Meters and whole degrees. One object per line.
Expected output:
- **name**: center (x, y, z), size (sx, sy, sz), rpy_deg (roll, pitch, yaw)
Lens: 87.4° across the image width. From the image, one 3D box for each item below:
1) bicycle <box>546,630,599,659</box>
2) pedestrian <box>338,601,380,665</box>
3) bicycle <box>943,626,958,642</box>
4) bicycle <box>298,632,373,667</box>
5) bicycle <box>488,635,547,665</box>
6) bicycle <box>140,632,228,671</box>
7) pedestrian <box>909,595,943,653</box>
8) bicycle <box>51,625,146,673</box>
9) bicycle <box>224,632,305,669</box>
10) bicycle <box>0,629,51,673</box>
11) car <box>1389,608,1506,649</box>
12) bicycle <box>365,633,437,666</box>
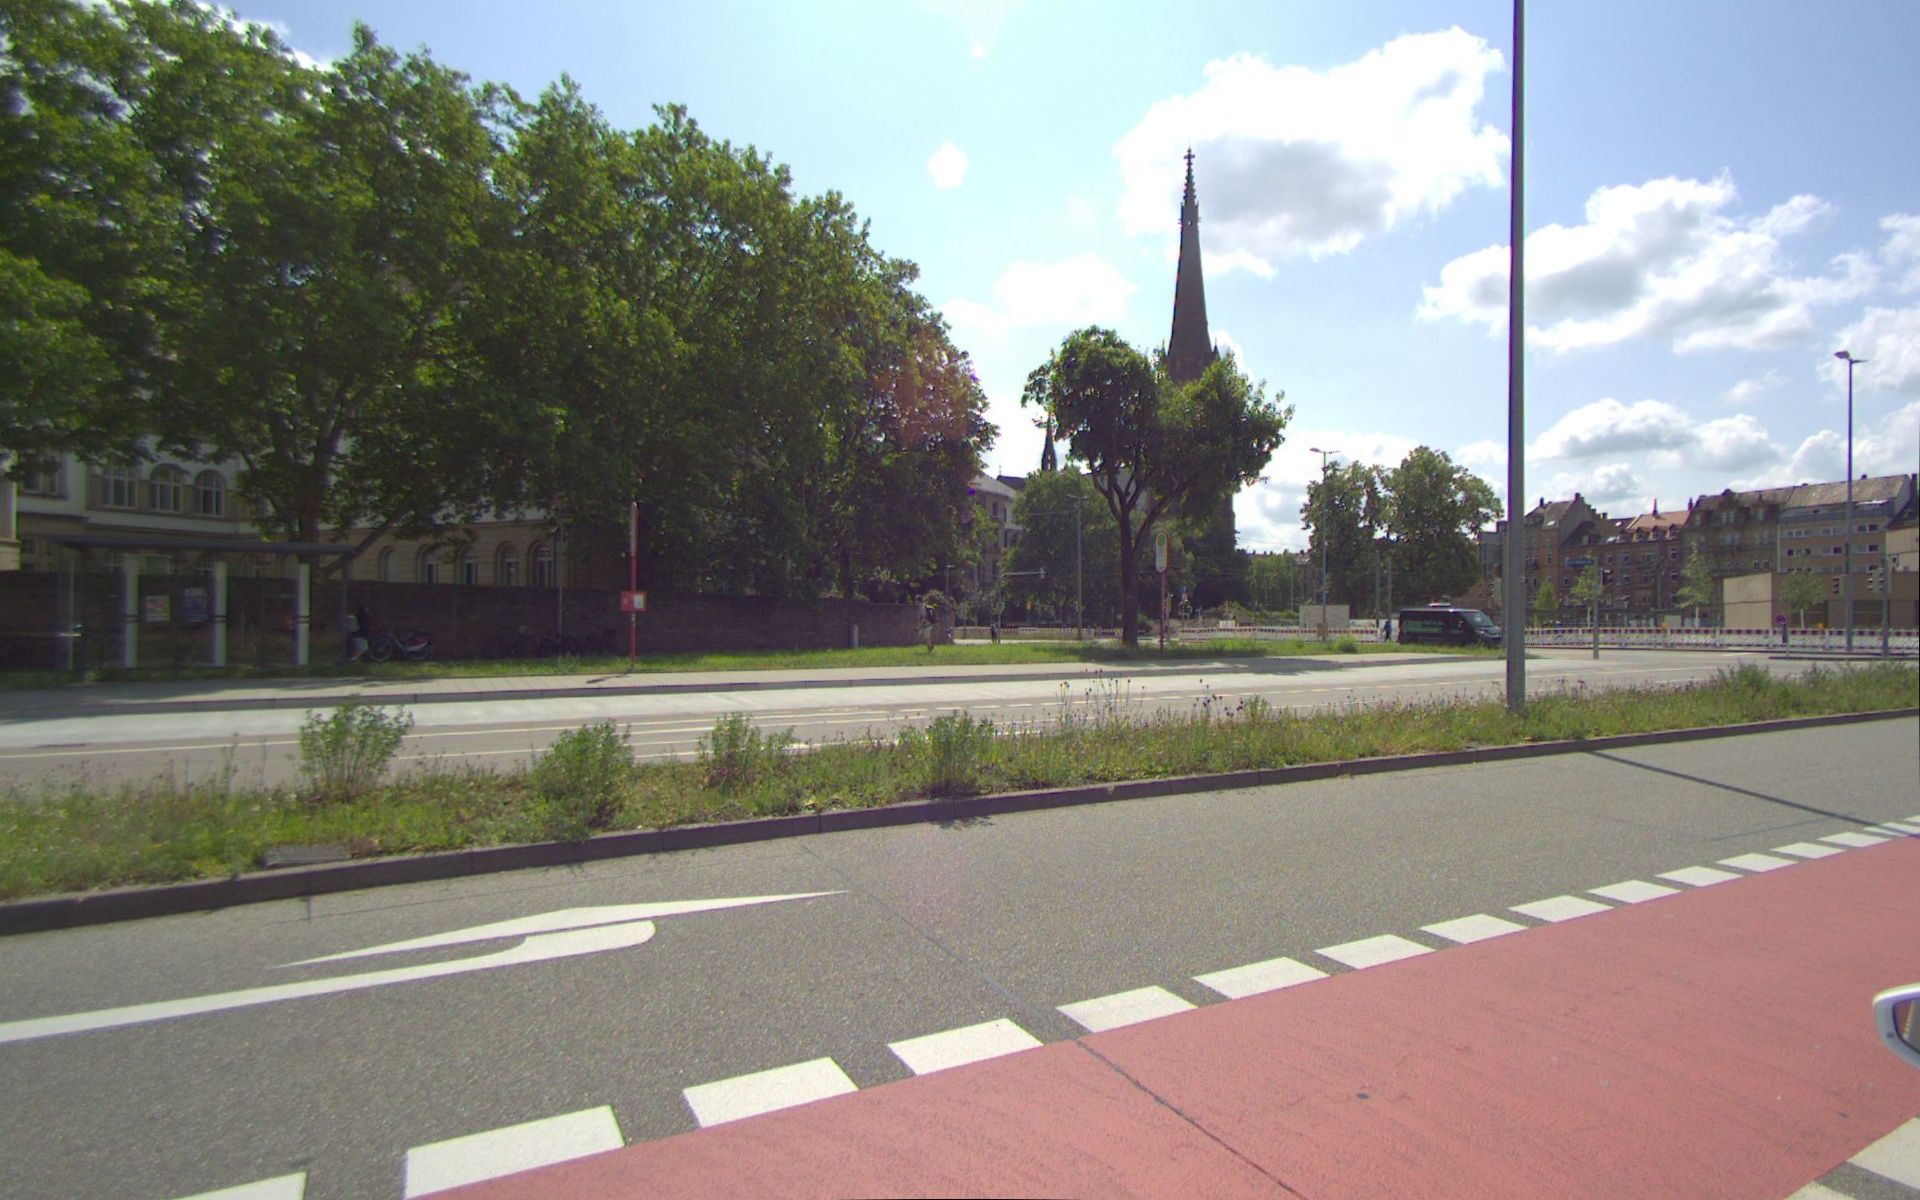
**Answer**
- **bicycle**: center (-12.993, 1.482, 33.741), size (0.536, 0.914, 1.660), rpy_deg (0, -1, 34)
- **pedestrian**: center (-15.815, 0.863, 26.434), size (0.607, 1.638, 0.754), rpy_deg (1, 0, 39)
- **bicycle**: center (-0.557, 1.990, 58.975), size (0.534, 0.914, 1.666), rpy_deg (0, -1, 12)
- **bicycle**: center (-17.128, 1.344, 27.586), size (0.537, 0.914, 1.658), rpy_deg (0, -1, 39)
- **bicycle**: center (-14.062, 1.568, 31.949), size (0.537, 0.914, 1.658), rpy_deg (0, -1, 39)
- **bicycle**: center (-19.195, 1.254, 24.871), size (0.537, 0.914, 1.658), rpy_deg (0, -1, 39)
- **pedestrian**: center (-0.928, 0.666, 27.898), size (0.858, 1.580, 0.556), rpy_deg (0, -1, 7)
- **bicycle**: center (-20.035, 1.122, 23.382), size (0.538, 1.065, 1.615), rpy_deg (0, -1, 43)
- **bicycle**: center (-18.144, 1.314, 26.232), size (0.537, 0.914, 1.658), rpy_deg (0, -1, 39)
- **bicycle**: center (-21.182, 1.124, 22.147), size (0.538, 0.964, 1.656), rpy_deg (0, -1, 43)
- **car**: center (24.161, 1.374, 49.976), size (1.908, 1.904, 4.980), rpy_deg (0, -1, -33)
- **bicycle**: center (-16.152, 1.426, 29.078), size (0.446, 0.914, 1.786), rpy_deg (0, -1, 39)
